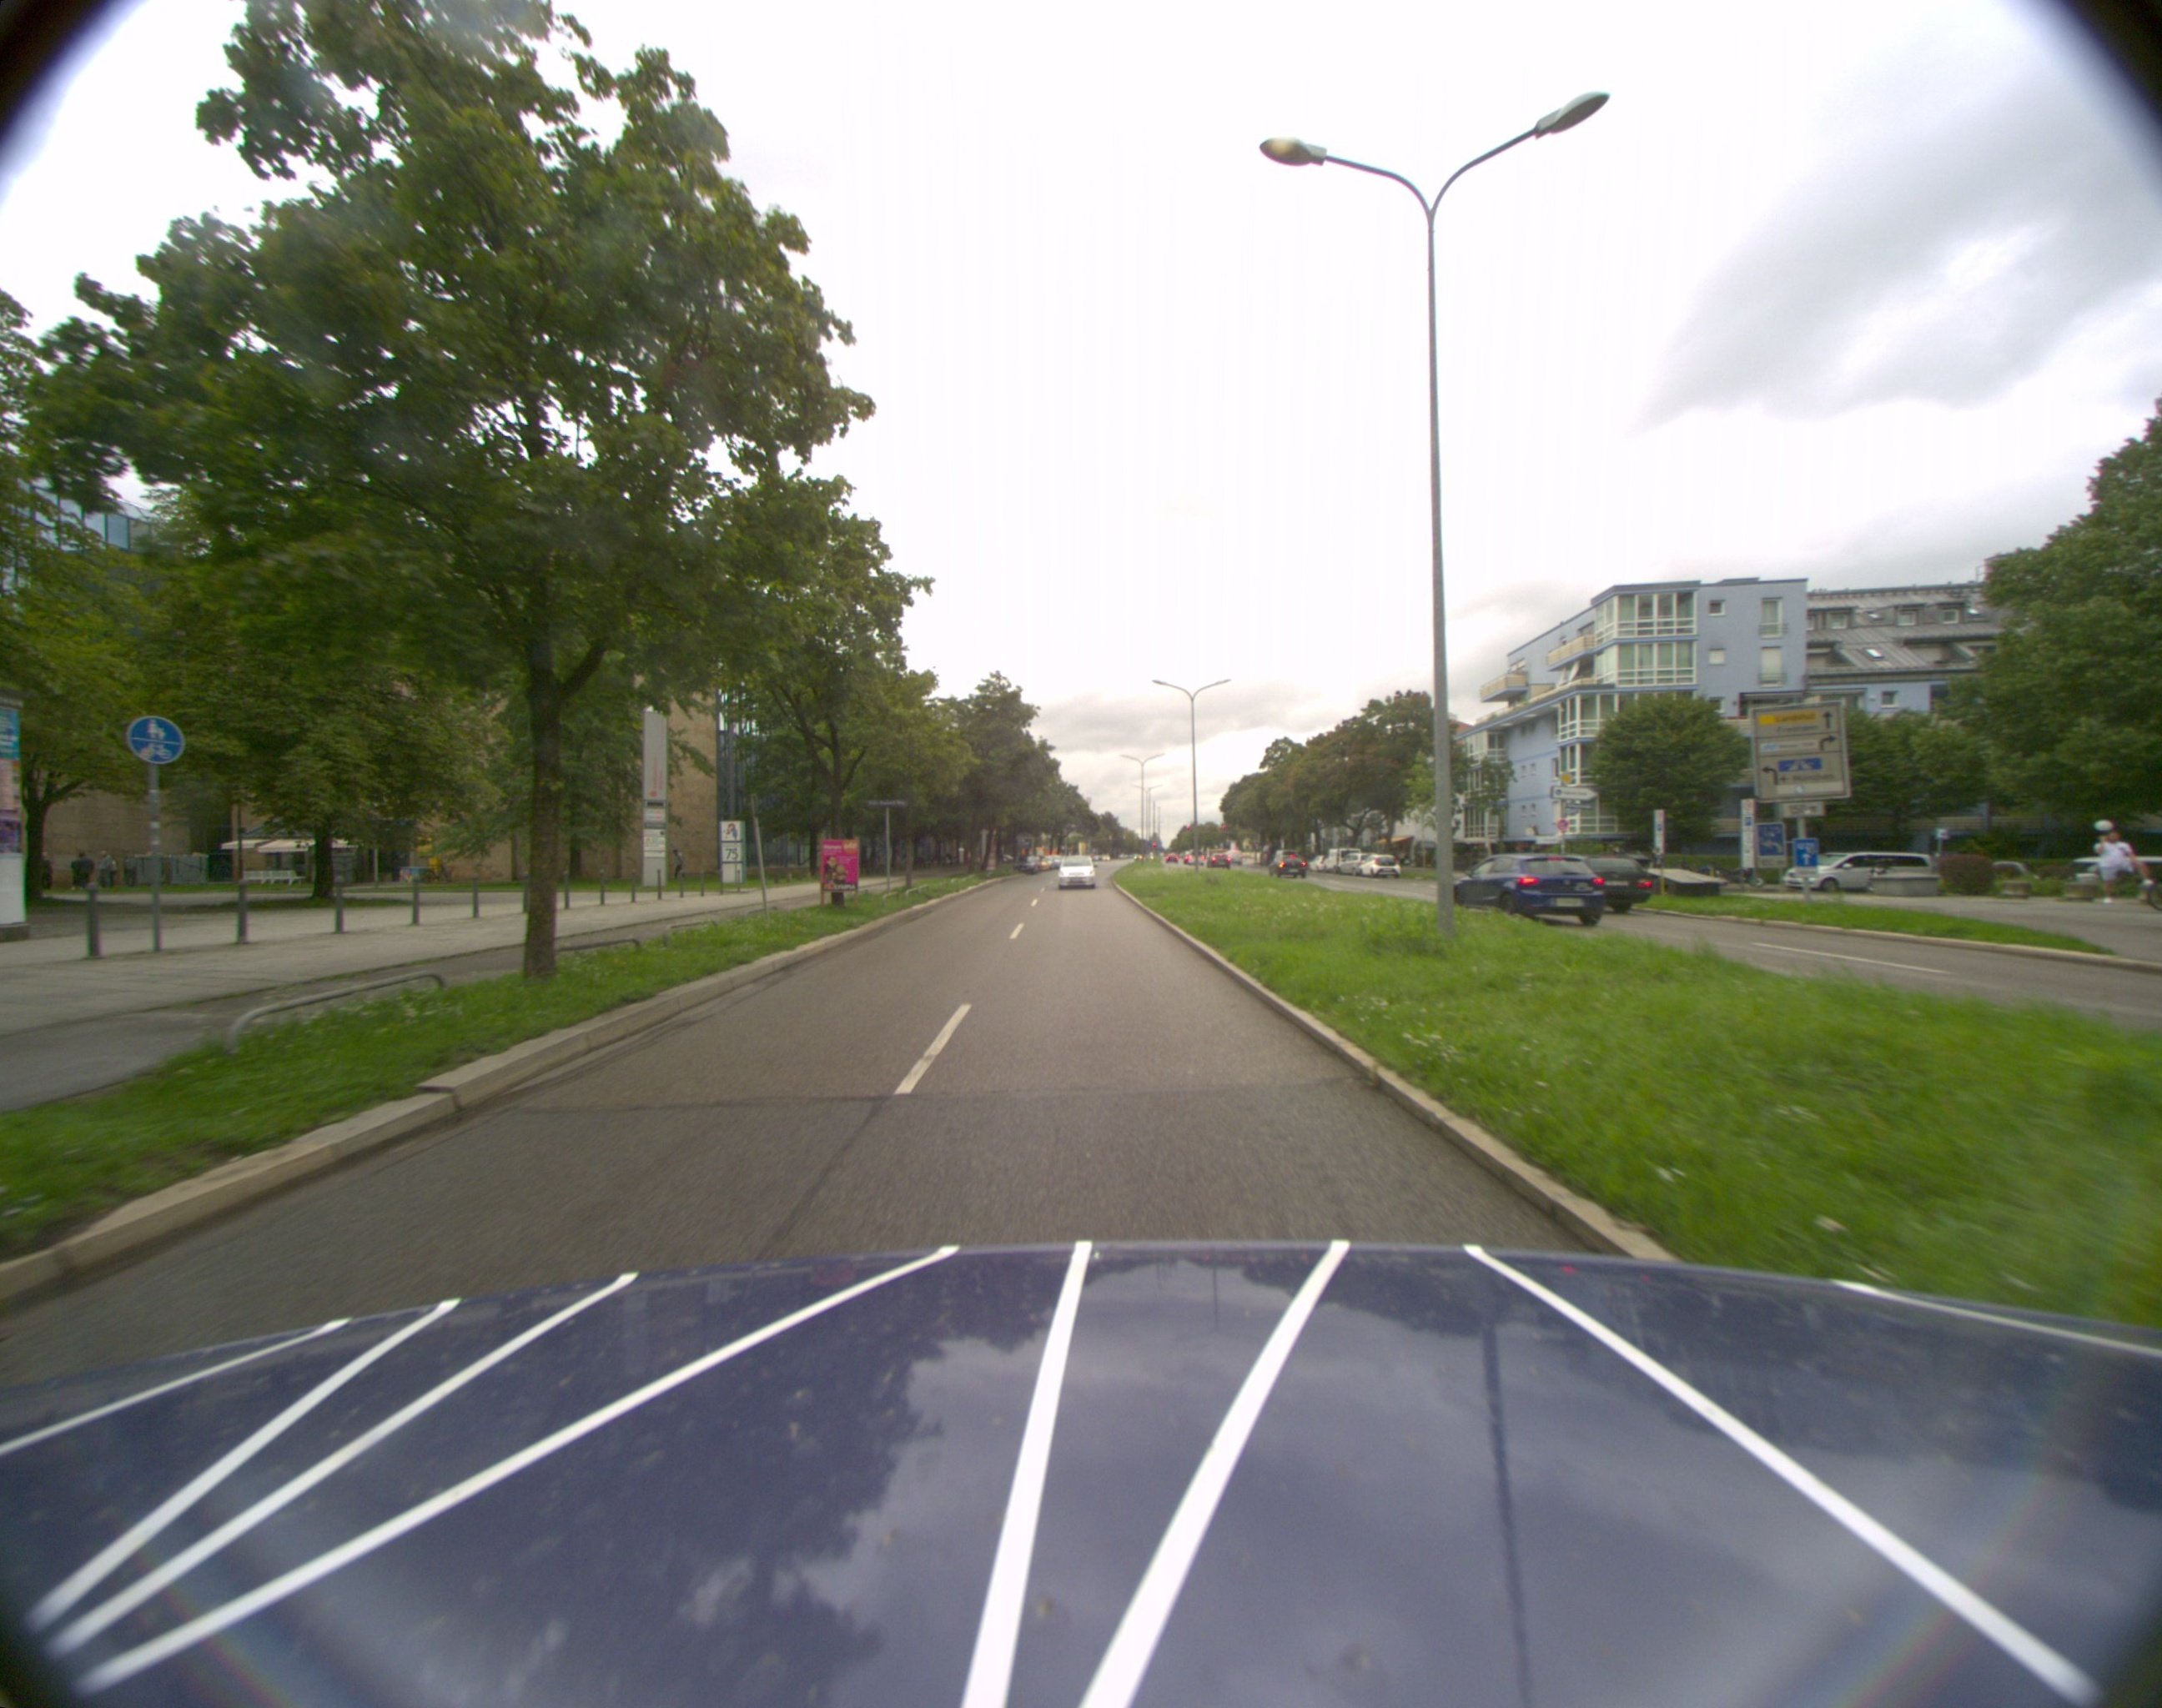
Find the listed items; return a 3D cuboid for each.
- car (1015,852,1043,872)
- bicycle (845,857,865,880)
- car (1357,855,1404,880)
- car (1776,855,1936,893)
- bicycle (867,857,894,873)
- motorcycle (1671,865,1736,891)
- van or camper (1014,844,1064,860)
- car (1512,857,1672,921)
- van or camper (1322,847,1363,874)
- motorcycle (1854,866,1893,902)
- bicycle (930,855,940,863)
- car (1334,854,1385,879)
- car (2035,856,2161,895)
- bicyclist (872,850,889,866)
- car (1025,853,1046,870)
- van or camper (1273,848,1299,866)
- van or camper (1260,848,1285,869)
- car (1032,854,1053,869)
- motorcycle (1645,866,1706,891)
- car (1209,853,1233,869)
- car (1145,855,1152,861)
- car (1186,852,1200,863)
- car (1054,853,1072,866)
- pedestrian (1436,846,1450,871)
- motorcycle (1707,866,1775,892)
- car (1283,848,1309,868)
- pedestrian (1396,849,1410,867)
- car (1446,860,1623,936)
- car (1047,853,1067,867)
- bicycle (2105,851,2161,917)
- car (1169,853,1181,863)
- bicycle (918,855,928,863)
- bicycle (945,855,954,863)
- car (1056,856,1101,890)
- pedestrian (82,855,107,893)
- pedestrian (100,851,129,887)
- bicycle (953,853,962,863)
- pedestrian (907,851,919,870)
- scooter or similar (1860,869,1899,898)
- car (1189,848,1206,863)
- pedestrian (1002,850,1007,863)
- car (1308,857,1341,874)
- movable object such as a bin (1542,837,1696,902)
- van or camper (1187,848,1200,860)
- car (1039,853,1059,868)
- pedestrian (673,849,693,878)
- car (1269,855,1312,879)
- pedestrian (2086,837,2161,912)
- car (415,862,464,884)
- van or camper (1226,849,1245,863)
[{"bbox_3d":[-4.426,0.662,64.854,1.865,1.581,4.604,0,0,3],"label":"car"},{"bbox_3d":[-12.931,0.819,43.554,0.622,1.243,1.920,0,0,-1],"label":"bicycle"},{"bbox_3d":[18.903,0.843,48.107,1.651,1.480,3.903,0,0,4],"label":"car"},{"bbox_3d":[35.730,0.911,35.153,5.113,1.672,2.001,0,0,4],"label":"car"},{"bbox_3d":[-14.375,0.766,54.556,1.770,1.123,0.725,0,1,-42],"label":"bicycle"},{"bbox_3d":[29.720,1.137,36.345,0.499,1.126,2.473,0,0,-22],"label":"motorcycle"},{"bbox_3d":[-9.353,-0.432,168.342,10.897,3.533,3.321,0,0,-9],"label":"van or camper"},{"bbox_3d":[12.992,0.823,19.634,1.695,1.475,3.968,0,0,5],"label":"car"},{"bbox_3d":[19.981,0.487,58.259,1.808,1.956,5.212,0,0,5],"label":"van or camper"},{"bbox_3d":[25.535,0.943,24.497,0.418,1.080,1.787,0,0,31],"label":"motorcycle"},{"bbox_3d":[-16.551,0.586,86.086,0.618,0.935,1.763,0,0,4],"label":"bicycle"},{"bbox_3d":[19.334,0.827,52.947,1.703,1.606,4.663,0,0,-2],"label":"car"},{"bbox_3d":[45.996,0.941,33.848,4.257,1.672,2.001,0,0,4],"label":"car"},{"bbox_3d":[-14.369,0.266,54.553,0.961,1.123,0.725,-1,1,-42],"label":"bicyclist"},{"bbox_3d":[-4.180,0.657,70.113,1.554,1.564,3.625,0,0,3],"label":"car"},{"bbox_3d":[22.652,0.341,84.046,2.025,1.930,4.706,0,0,6],"label":"van or camper"},{"bbox_3d":[23.517,0.537,93.523,2.054,2.472,5.550,0,0,5],"label":"van or camper"},{"bbox_3d":[-3.764,0.742,74.882,1.626,1.373,4.196,0,0,4],"label":"car"},{"bbox_3d":[28.525,1.154,36.539,0.498,1.126,2.474,0,0,-16],"label":"motorcycle"},{"bbox_3d":[13.338,0.670,72.562,1.961,1.471,4.261,0,0,6],"label":"car"},{"bbox_3d":[16.526,0.958,184.862,1.589,1.259,3.736,0,0,6],"label":"car"},{"bbox_3d":[15.865,0.470,107.827,1.795,1.440,3.673,0,0,6],"label":"car"},{"bbox_3d":[-2.131,0.606,90.183,1.682,1.497,3.736,0,0,6],"label":"car"},{"bbox_3d":[25.577,0.313,53.741,0.643,1.795,0.780,0,1,3],"label":"pedestrian"},{"bbox_3d":[31.231,1.159,36.014,0.499,1.126,2.473,0,1,-23],"label":"motorcycle"},{"bbox_3d":[22.014,0.353,78.042,1.800,1.986,4.548,0,0,6],"label":"car"},{"bbox_3d":[28.641,0.386,67.583,0.973,1.593,0.769,0,1,36],"label":"pedestrian"},{"bbox_3d":[9.499,0.840,16.319,1.695,1.394,3.968,0,0,5],"label":"car"},{"bbox_3d":[-2.652,0.617,85.012,1.682,1.522,4.097,0,0,6],"label":"car"},{"bbox_3d":[23.784,0.526,15.792,3.333,1.275,0.788,-5,0,9],"label":"bicycle"},{"bbox_3d":[14.684,0.578,118.394,1.761,1.440,3.673,0,0,6],"label":"car"},{"bbox_3d":[-17.735,0.554,85.421,0.571,0.935,2.064,0,1,4],"label":"bicycle"},{"bbox_3d":[-15.113,0.601,87.082,0.512,0.935,2.142,0,0,4],"label":"bicycle"},{"bbox_3d":[-0.063,0.808,34.530,1.679,1.434,3.736,0,0,6],"label":"car"},{"bbox_3d":[-44.594,0.893,34.352,0.502,1.668,0.594,0,1,26],"label":"pedestrian"},{"bbox_3d":[-44.820,0.701,35.241,0.563,1.668,0.593,0,1,4],"label":"pedestrian"},{"bbox_3d":[-14.175,0.443,87.163,0.512,1.185,2.142,0,1,4],"label":"bicycle"},{"bbox_3d":[-14.600,0.567,66.189,0.737,1.636,0.646,2,2,24],"label":"pedestrian"},{"bbox_3d":[27.053,0.980,25.745,1.152,0.953,0.442,0,1,-17],"label":"scooter or similar"},{"bbox_3d":[15.031,0.187,98.520,1.943,1.986,4.706,0,0,6],"label":"car"},{"bbox_3d":[-9.678,0.313,96.549,0.528,1.713,0.660,1,2,1],"label":"pedestrian"},{"bbox_3d":[20.631,0.945,64.508,1.679,1.386,4.336,0,0,4],"label":"car"},{"bbox_3d":[17.394,0.463,24.861,2.198,1.941,4.000,0,0,0],"label":"movable object such as a bin"},{"bbox_3d":[17.238,0.043,116.411,1.795,1.787,4.126,0,0,6],"label":"van or camper"},{"bbox_3d":[-3.332,0.652,79.673,1.626,1.466,3.897,0,0,6],"label":"car"},{"bbox_3d":[-22.739,0.538,43.406,0.571,1.636,0.881,1,1,38],"label":"pedestrian"},{"bbox_3d":[13.047,0.780,47.573,1.786,1.397,4.103,0,0,4],"label":"car"},{"bbox_3d":[24.562,0.472,17.753,0.670,1.698,1.131,0,1,0],"label":"pedestrian"},{"bbox_3d":[-32.831,0.967,38.927,0.678,1.008,2.077,0,2,0],"label":"car"},{"bbox_3d":[21.573,0.263,106.109,2.020,2.004,5.200,0,0,5],"label":"van or camper"}]
